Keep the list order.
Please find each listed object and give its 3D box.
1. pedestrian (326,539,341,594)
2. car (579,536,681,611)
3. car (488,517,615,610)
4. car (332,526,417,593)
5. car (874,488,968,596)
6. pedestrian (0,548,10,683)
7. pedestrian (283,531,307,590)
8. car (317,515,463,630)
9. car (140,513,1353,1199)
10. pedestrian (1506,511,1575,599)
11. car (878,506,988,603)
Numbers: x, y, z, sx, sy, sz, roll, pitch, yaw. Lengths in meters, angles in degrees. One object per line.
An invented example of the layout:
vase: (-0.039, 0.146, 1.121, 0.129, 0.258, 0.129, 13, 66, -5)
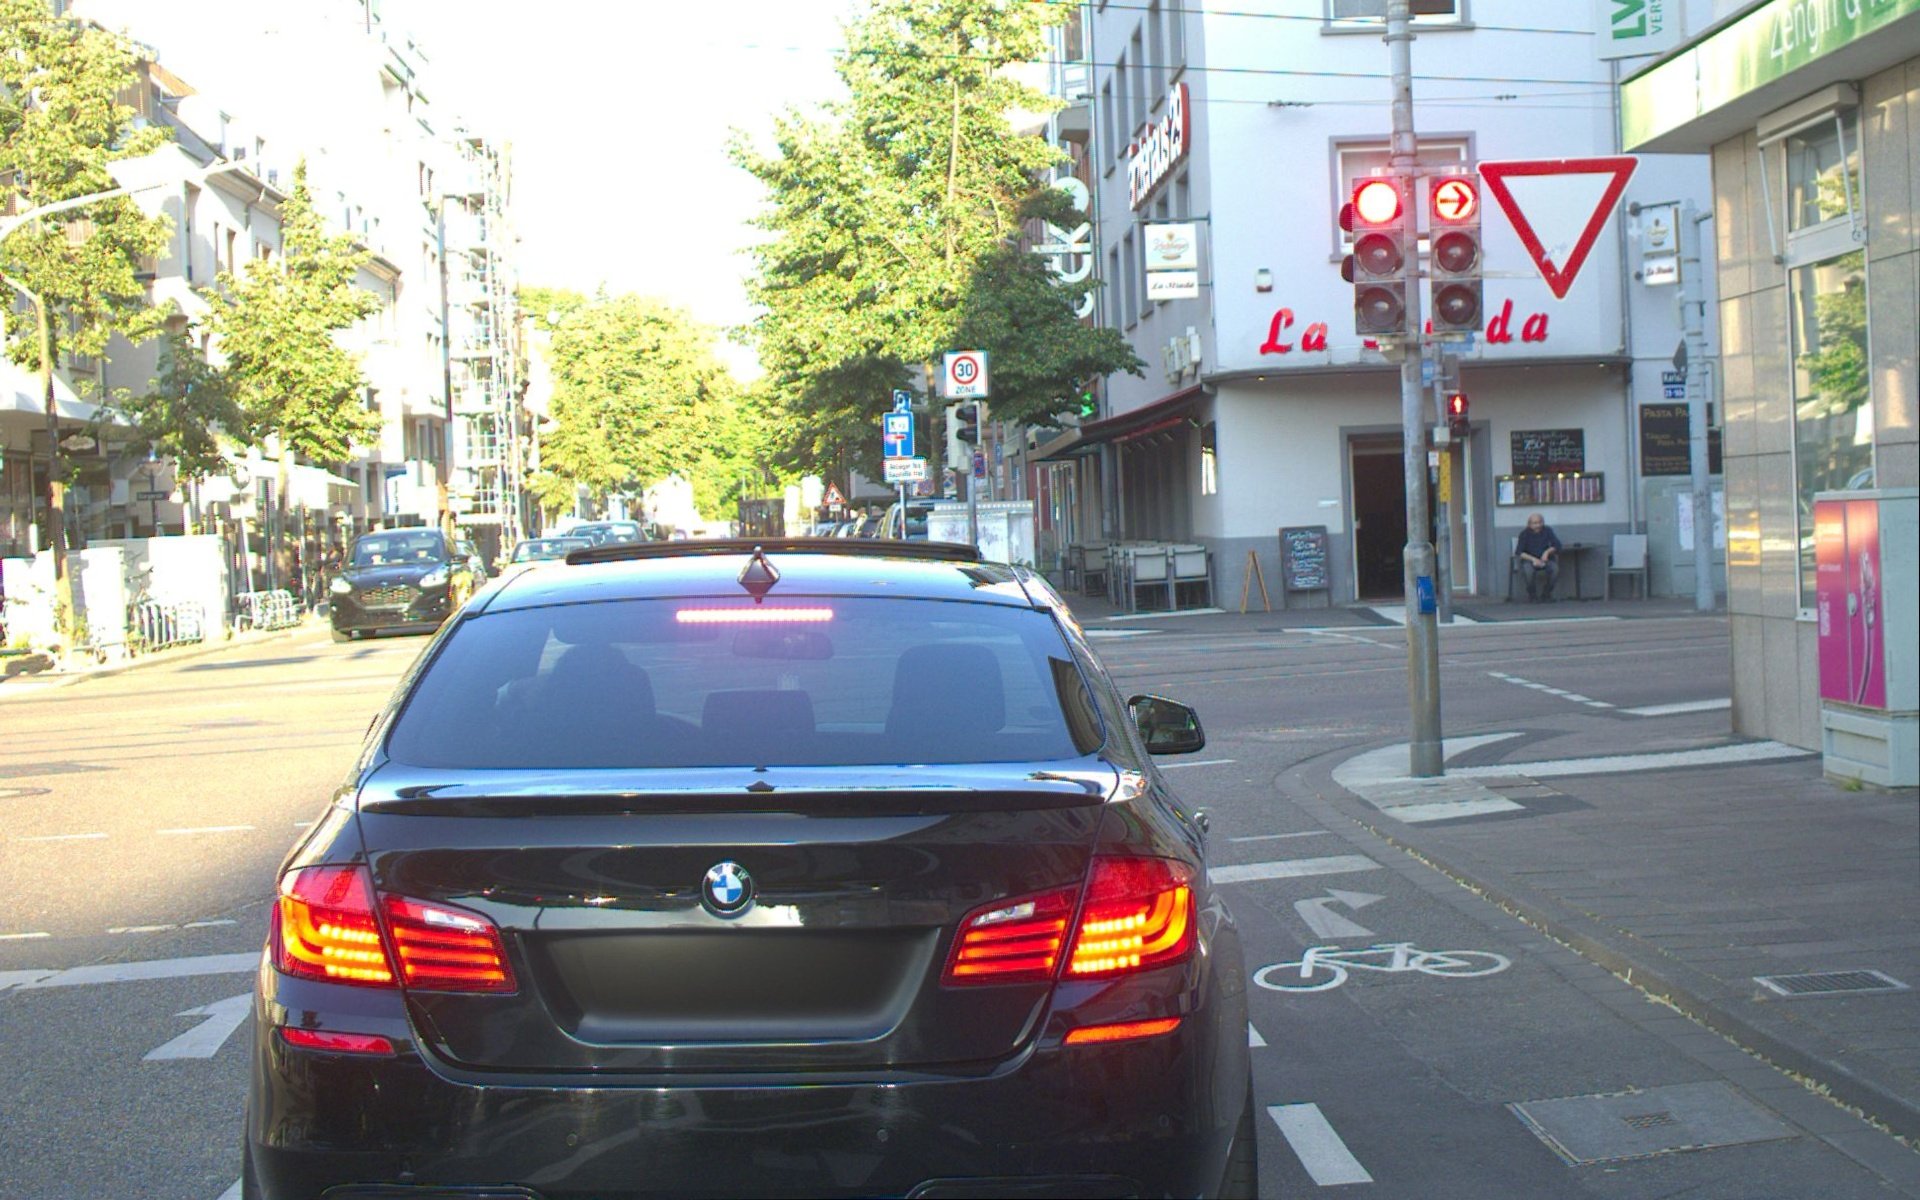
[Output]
pedestrian: (-15.333, -0.821, 84.162, 0.306, 1.354, 0.285, -3, 1, -11)
car: (-6.216, -0.525, 64.435, 1.733, 1.288, 4.001, -2, 1, -7)
car: (-6.878, -0.634, 57.671, 1.993, 1.437, 4.001, -2, 1, -7)
car: (-13.432, -0.946, 79.017, 1.733, 1.456, 4.001, -2, 1, -7)
car: (-0.704, -1.029, 60.992, 1.421, 1.848, 3.053, -1, 1, -5)
pedestrian: (-11.445, 0.184, 39.366, 0.945, 1.532, 0.909, -2, 1, -10)
pedestrian: (-16.228, -0.971, 83.926, 0.444, 1.411, 0.525, -2, 1, -4)
car: (-8.619, -0.441, 52.235, 1.993, 1.612, 4.001, -2, 1, -7)
car: (-0.450, 0.592, 7.679, 1.903, 1.535, 4.450, 1, 1, -3)
pedestrian: (7.817, -0.613, 46.328, 0.697, 1.153, 0.844, -2, 1, -3)
car: (-0.454, -0.724, 54.596, 1.625, 1.466, 3.395, -1, 1, -2)
